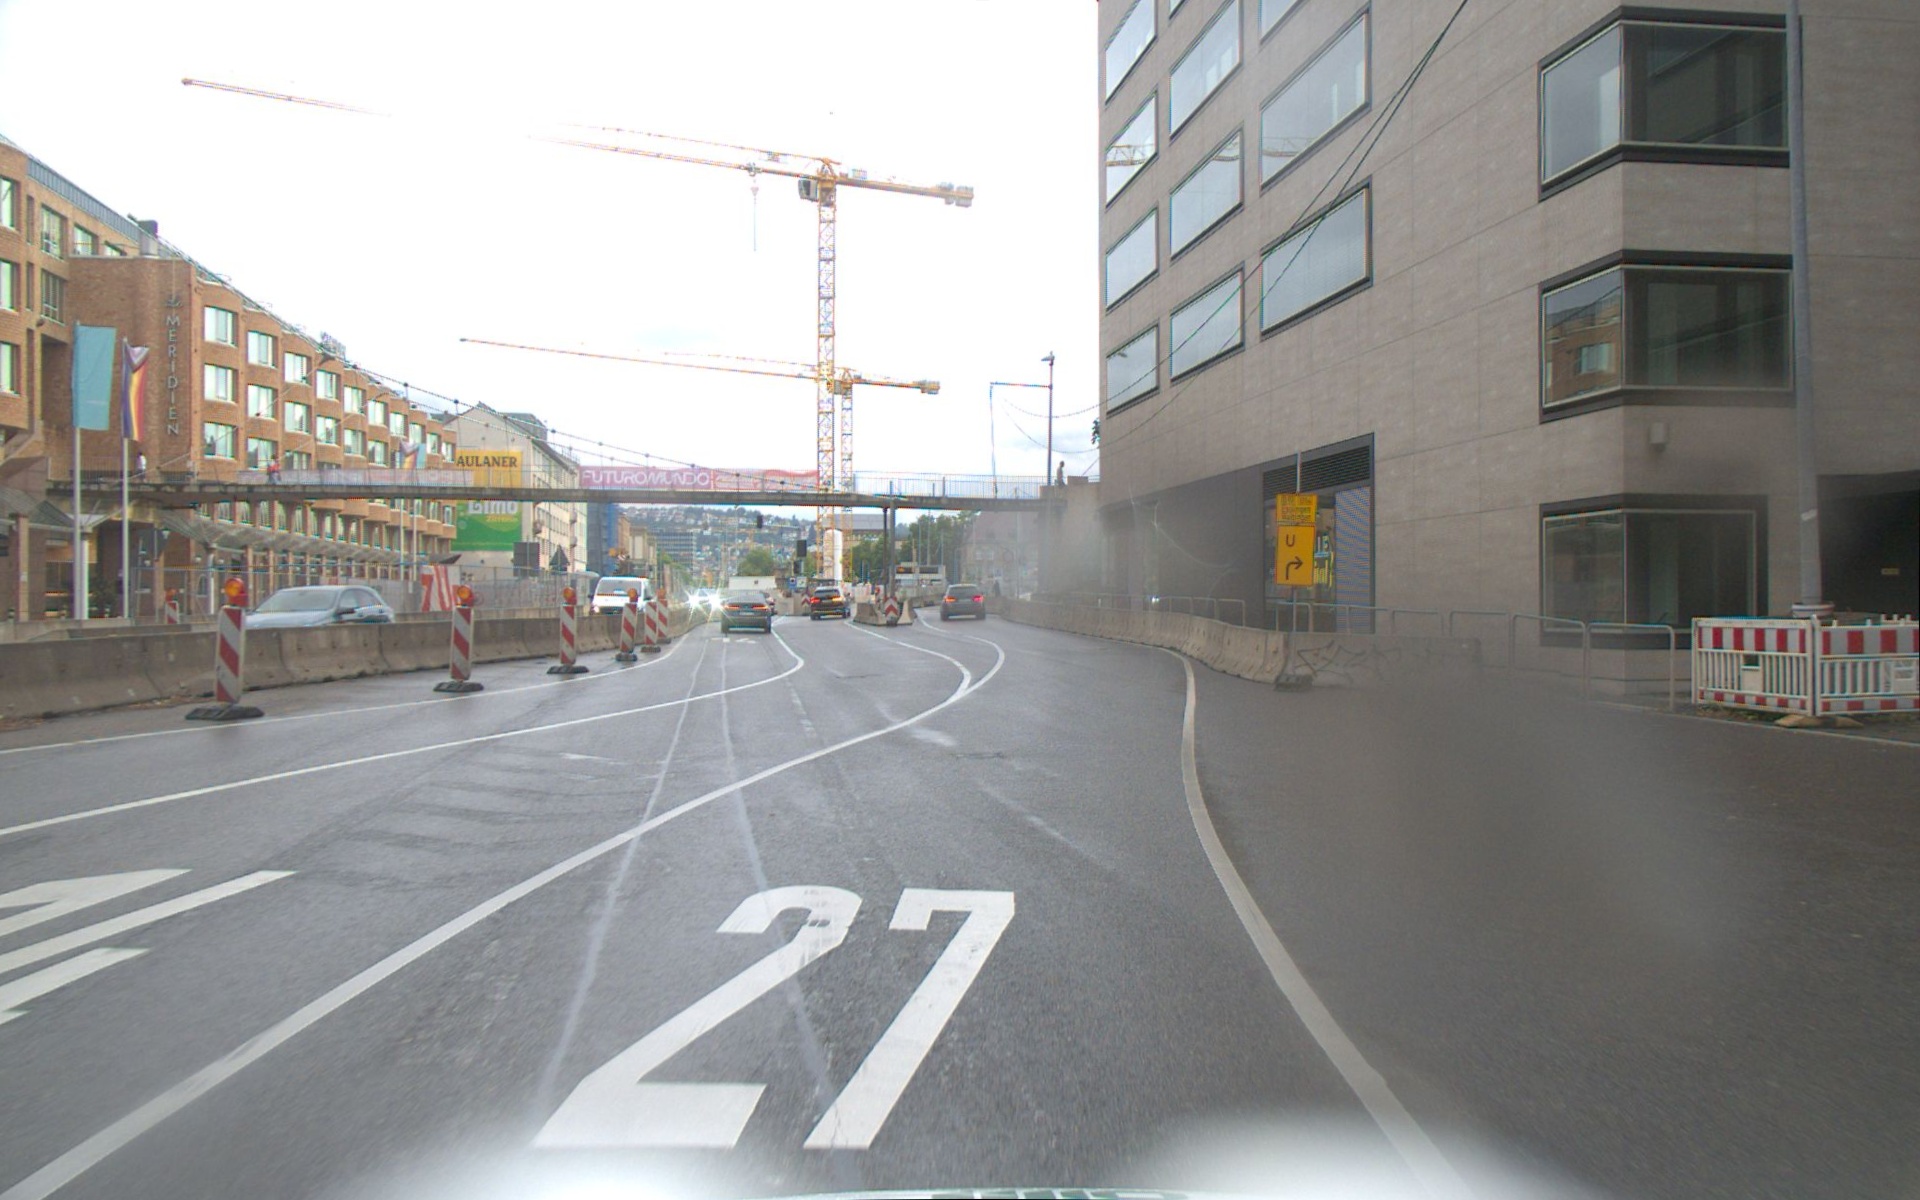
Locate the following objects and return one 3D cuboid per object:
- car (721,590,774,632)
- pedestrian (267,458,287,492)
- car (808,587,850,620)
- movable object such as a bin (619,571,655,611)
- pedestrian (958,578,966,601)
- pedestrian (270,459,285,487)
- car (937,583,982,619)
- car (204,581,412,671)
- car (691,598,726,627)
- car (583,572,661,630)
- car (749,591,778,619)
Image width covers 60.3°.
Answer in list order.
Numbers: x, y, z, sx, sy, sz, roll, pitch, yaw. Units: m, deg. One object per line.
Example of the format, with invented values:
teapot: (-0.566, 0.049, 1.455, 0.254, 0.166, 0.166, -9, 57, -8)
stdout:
car: (-7.684, 0.365, 59.916, 1.827, 1.468, 4.649, 0, 0, -7)
pedestrian: (-30.618, -5.596, 74.173, 0.608, 1.477, 0.618, -1, 0, -4)
car: (-6.791, 0.168, 85.934, 1.825, 1.689, 4.656, 0, 0, 0)
movable object such as a bin: (-20.032, -0.563, 102.686, 1.990, 2.317, 4.283, -4, 1, -10)
pedestrian: (0.153, -0.899, 146.755, 0.613, 2.049, 0.664, 0, 0, 5)
pedestrian: (-30.611, -5.707, 74.145, 0.466, 1.215, 0.484, -1, 0, -4)
car: (0.013, 0.024, 69.220, 1.824, 1.458, 4.656, 0, 0, 0)
car: (-11.428, 0.416, 29.329, 1.952, 1.485, 4.229, 0, 0, 1)
car: (-15.947, 0.780, 104.978, 1.955, 1.651, 4.696, -1, 1, -6)
car: (-11.738, 0.015, 57.682, 1.954, 1.918, 4.867, 0, 0, -3)
car: (-13.165, 0.333, 110.679, 1.828, 1.796, 4.647, 0, 0, -8)
